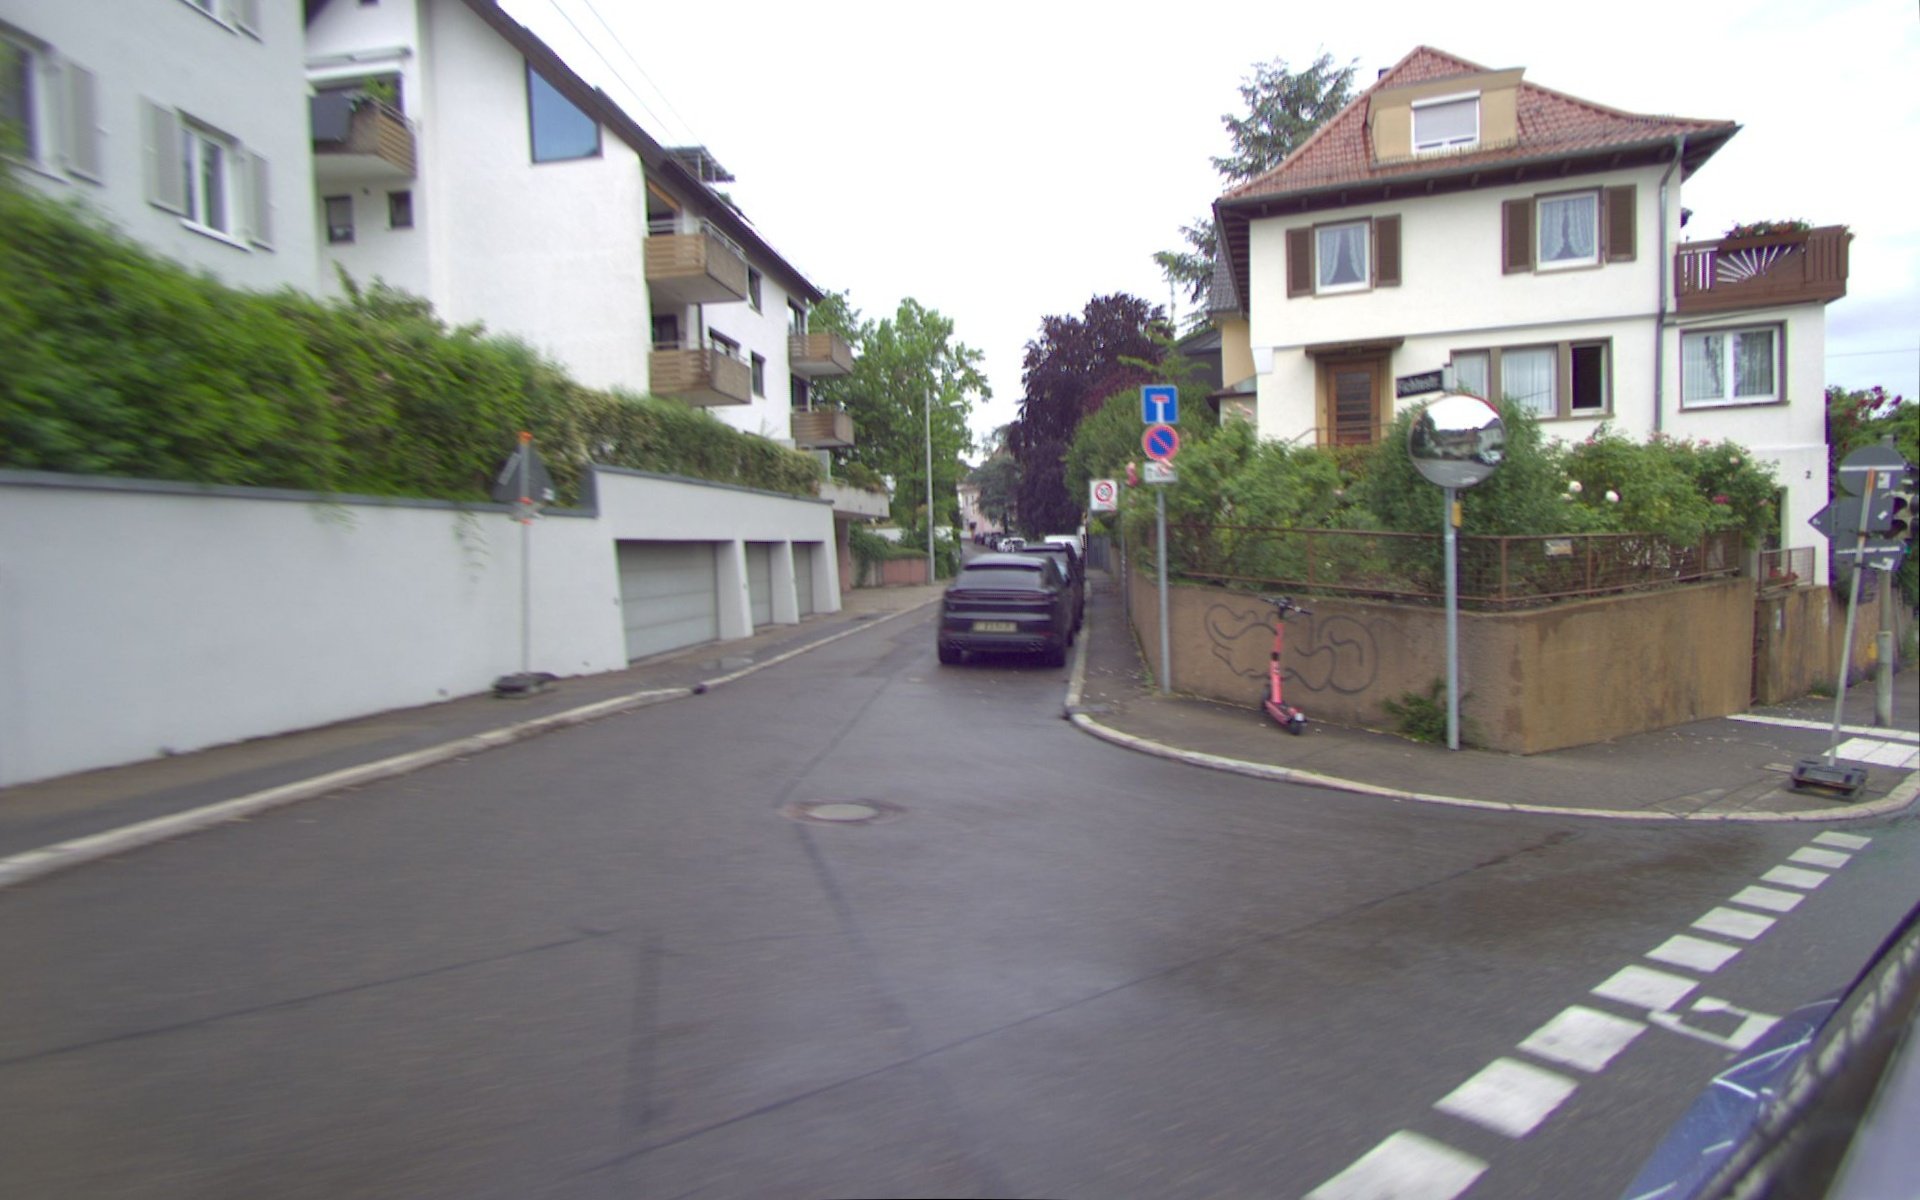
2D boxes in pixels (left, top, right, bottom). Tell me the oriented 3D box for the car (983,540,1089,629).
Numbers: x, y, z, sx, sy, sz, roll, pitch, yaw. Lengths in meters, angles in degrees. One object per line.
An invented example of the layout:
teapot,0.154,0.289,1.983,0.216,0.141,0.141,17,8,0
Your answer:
car,1.759,-0.426,22.001,1.845,1.662,4.361,-1,3,10

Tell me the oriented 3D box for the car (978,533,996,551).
car,2.993,-6.456,112.533,1.713,1.695,3.733,-6,1,1

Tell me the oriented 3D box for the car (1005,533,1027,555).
car,5.333,-5.293,96.147,1.964,1.749,3.996,-5,0,4

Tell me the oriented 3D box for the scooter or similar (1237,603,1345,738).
scooter or similar,3.232,0.646,10.007,0.642,1.069,1.558,2,5,6

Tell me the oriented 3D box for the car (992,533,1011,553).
car,4.139,-5.745,101.622,1.713,1.695,3.733,-6,1,1

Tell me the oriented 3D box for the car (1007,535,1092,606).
car,2.510,-0.862,27.477,1.845,1.687,4.360,-3,3,10

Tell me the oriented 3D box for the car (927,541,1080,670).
car,0.867,-0.049,16.649,1.968,1.703,4.362,0,5,10

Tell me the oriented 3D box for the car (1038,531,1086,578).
car,4.407,-1.980,43.161,1.844,1.863,4.364,1,4,8
